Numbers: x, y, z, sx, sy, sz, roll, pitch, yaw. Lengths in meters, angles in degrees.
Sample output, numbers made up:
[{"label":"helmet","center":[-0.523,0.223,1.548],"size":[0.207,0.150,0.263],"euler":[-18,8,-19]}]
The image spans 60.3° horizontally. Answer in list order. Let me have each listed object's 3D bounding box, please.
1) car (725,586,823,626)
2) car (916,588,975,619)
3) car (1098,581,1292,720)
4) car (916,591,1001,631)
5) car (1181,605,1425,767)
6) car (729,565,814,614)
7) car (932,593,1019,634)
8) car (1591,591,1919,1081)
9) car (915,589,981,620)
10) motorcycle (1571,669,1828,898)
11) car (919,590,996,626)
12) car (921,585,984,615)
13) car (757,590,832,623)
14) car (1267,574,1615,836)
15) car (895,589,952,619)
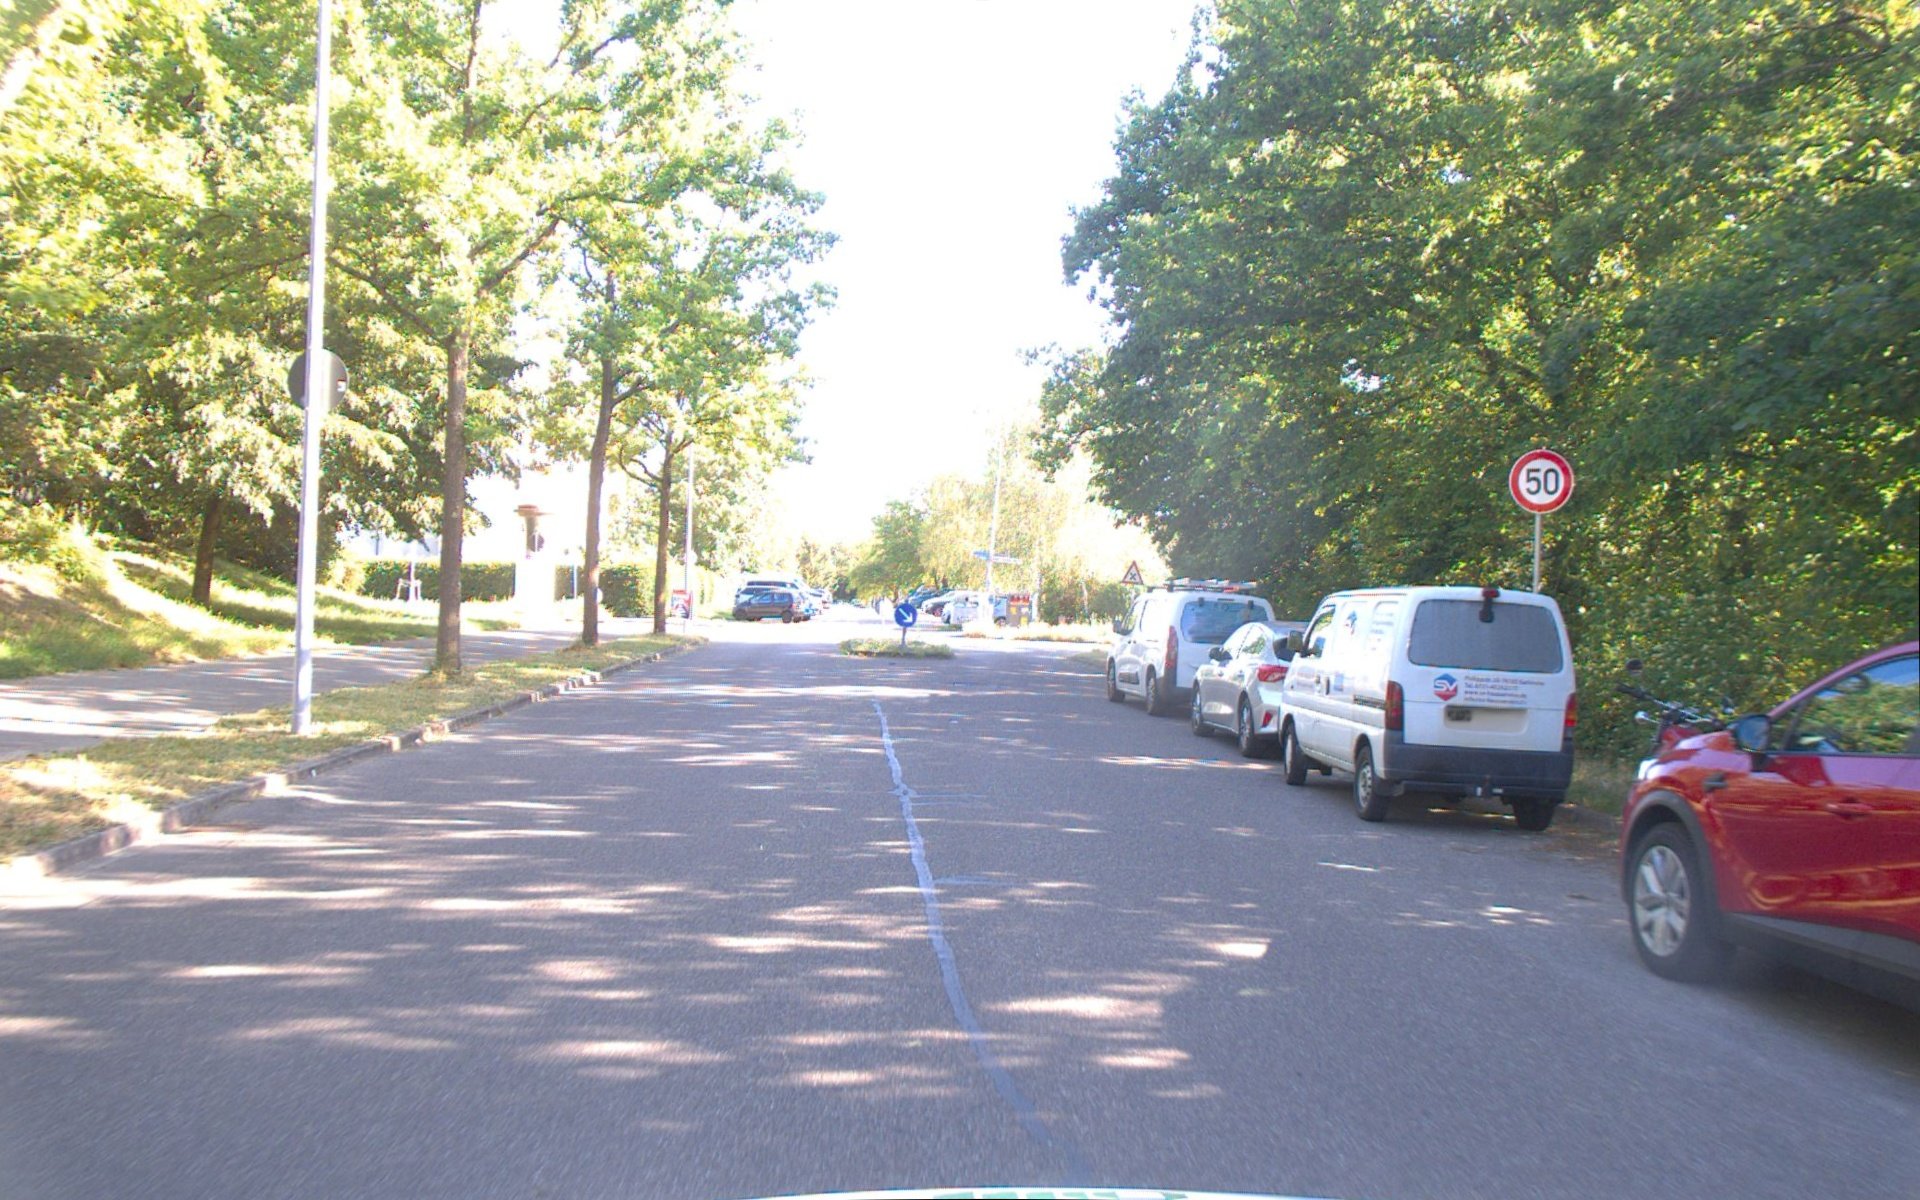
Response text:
[{"label":"car","center":[-8.771,0.271,78.395],"size":[4.228,1.604,2.047],"euler":[4,0,3]},{"label":"car","center":[-0.954,0.224,109.126],"size":[3.760,1.827,1.689],"euler":[4,0,1]},{"label":"car","center":[3.443,0.690,25.122],"size":[1.757,1.816,4.551],"euler":[4,0,-6]},{"label":"car","center":[-0.059,0.510,77.200],"size":[3.759,1.604,1.689],"euler":[4,0,3]},{"label":"car","center":[3.785,0.888,18.988],"size":[1.658,1.538,4.204],"euler":[4,0,-3]},{"label":"car","center":[-11.803,-0.665,103.499],"size":[5.103,2.666,2.289],"euler":[4,0,-8]},{"label":"car","center":[0.731,0.605,74.419],"size":[3.759,1.604,1.689],"euler":[4,0,3]},{"label":"car","center":[4.105,0.847,6.028],"size":[1.741,1.649,4.061],"euler":[4,0,-4]},{"label":"car","center":[-0.721,0.289,99.798],"size":[3.759,1.604,1.689],"euler":[4,0,3]},{"label":"motorcycle","center":[4.645,1.100,10.558],"size":[0.634,1.216,2.034],"euler":[3,0,-2]},{"label":"car","center":[-0.093,0.423,85.013],"size":[3.759,1.604,1.689],"euler":[4,0,3]},{"label":"car","center":[-0.465,0.009,102.947],"size":[3.760,1.604,1.689],"euler":[4,0,1]},{"label":"car","center":[-9.459,0.355,94.677],"size":[4.024,1.604,1.958],"euler":[4,0,-1]},{"label":"car","center":[3.828,0.760,13.805],"size":[1.591,1.804,3.667],"euler":[4,0,-3]},{"label":"car","center":[-2.484,0.271,113.979],"size":[3.760,1.827,1.689],"euler":[4,0,1]}]
